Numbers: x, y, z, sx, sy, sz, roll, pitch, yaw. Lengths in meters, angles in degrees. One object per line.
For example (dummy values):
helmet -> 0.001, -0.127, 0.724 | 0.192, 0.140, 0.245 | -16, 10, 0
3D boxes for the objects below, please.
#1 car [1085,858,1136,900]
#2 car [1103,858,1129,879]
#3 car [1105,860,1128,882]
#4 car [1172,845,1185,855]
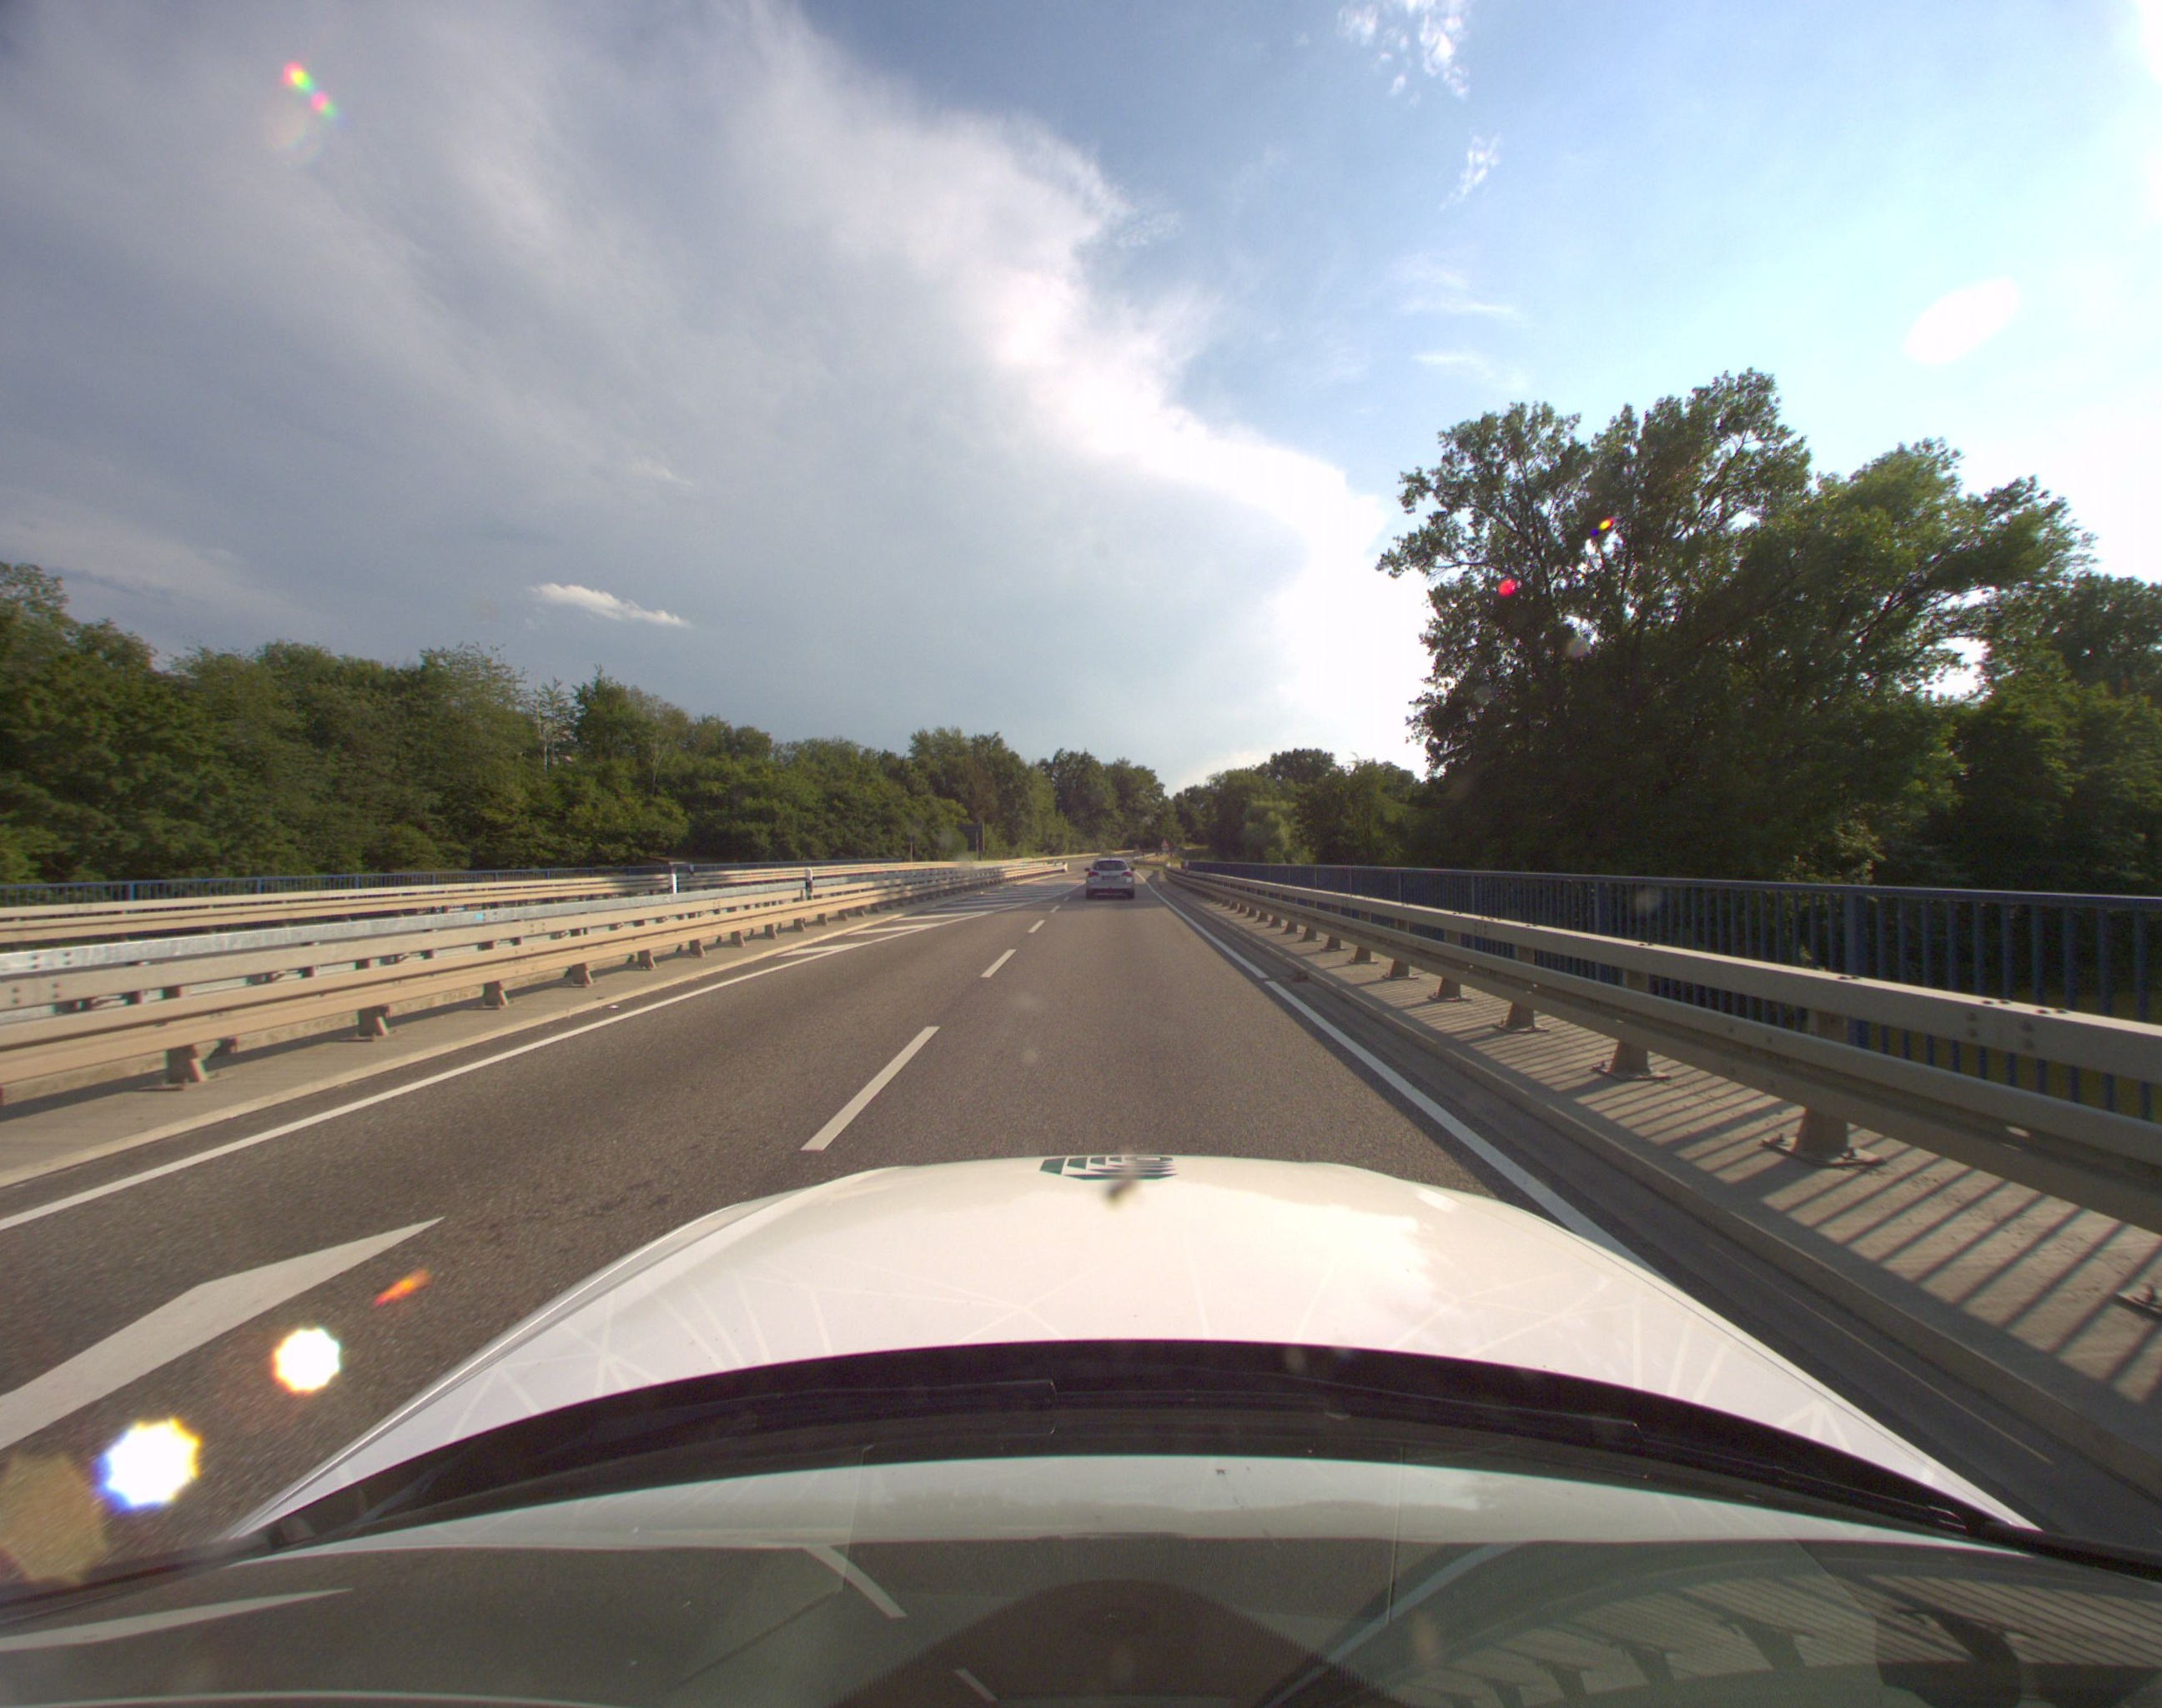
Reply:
car -> 1.077, 0.936, 30.793 | 1.802, 1.486, 4.000 | 0, -1, 1
car -> 2.476, 1.080, 58.931 | 1.802, 1.486, 4.000 | 0, -1, 1
car -> 3.225, 1.556, 74.209 | 1.986, 2.014, 4.000 | 0, -2, 1
car -> 21.333, -0.888, 178.595 | 1.977, 2.014, 4.020 | -1, -2, 20
